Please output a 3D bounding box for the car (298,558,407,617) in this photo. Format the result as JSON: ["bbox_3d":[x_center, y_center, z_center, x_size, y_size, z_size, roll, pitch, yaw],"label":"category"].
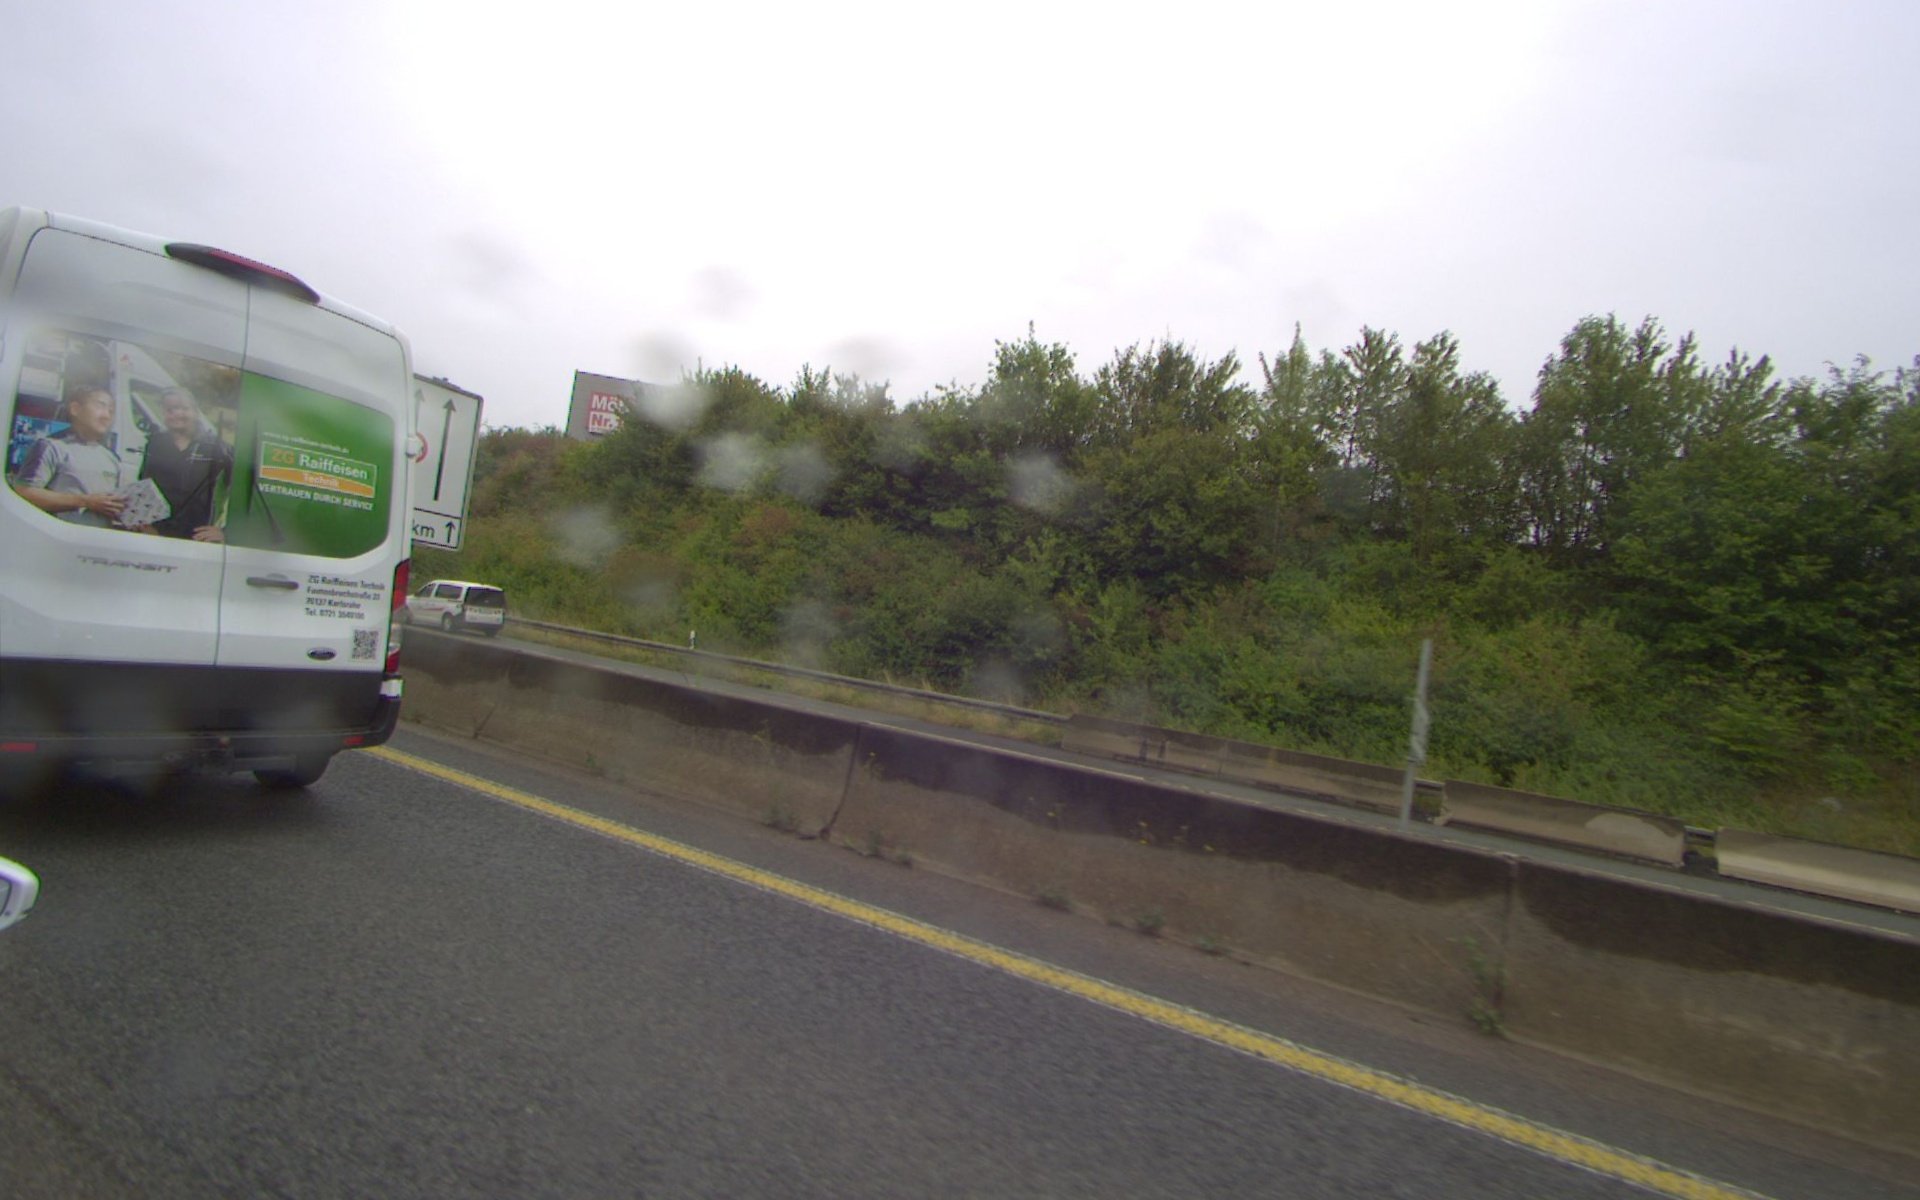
[{"bbox_3d":[-23.896,-0.489,39.530,4.197,1.778,1.732,6,-2,31],"label":"car"}]

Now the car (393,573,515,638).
[{"bbox_3d":[-18.133,0.179,36.006,4.257,1.790,1.732,6,-2,31],"label":"car"}]

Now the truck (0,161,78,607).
[{"bbox_3d":[-21.776,-3.858,17.445,20.044,5.740,3.986,6,-1,33],"label":"truck"}]

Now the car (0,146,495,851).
[{"bbox_3d":[-5.792,-0.547,6.242,6.017,2.707,2.147,6,-1,33],"label":"car"}]
